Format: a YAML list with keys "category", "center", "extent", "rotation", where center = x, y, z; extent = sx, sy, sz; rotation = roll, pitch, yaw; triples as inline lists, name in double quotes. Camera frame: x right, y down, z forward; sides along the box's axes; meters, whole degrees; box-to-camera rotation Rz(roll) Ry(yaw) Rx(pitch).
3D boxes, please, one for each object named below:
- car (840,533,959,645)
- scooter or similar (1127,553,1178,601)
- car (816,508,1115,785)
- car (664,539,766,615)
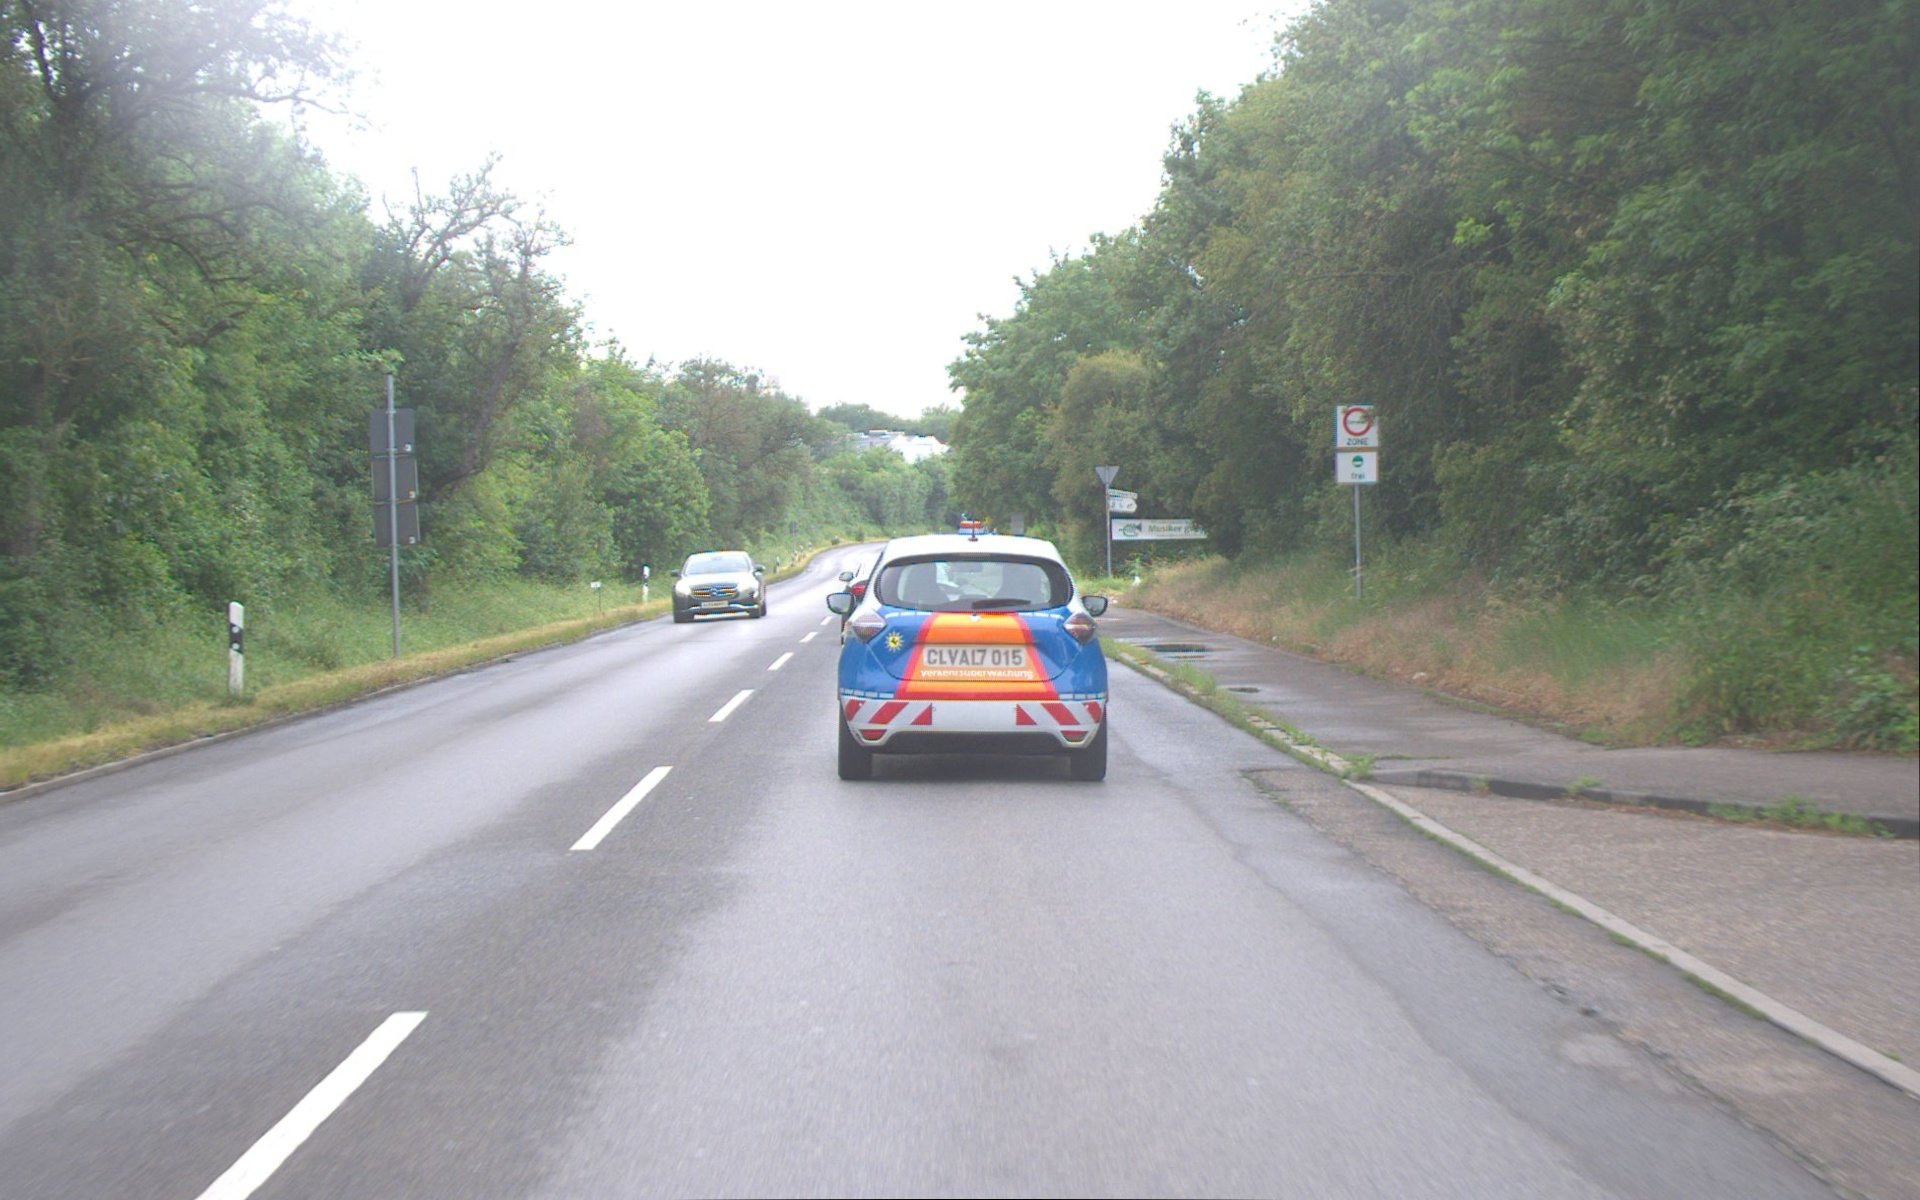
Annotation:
- category: "car"
  center: [-0.909, -0.178, 51.565]
  extent: [1.694, 1.590, 3.856]
  rotation: [1, 1, -1]
- category: "scooter or similar"
  center: [4.964, -0.588, 88.690]
  extent: [1.326, 1.202, 0.373]
  rotation: [-1, 1, 40]
- category: "car"
  center: [-0.002, 0.263, 22.996]
  extent: [1.806, 1.662, 3.856]
  rotation: [1, 1, -1]
- category: "car"
  center: [-5.269, -0.504, 74.445]
  extent: [1.871, 1.484, 4.574]
  rotation: [-4, 1, -1]
